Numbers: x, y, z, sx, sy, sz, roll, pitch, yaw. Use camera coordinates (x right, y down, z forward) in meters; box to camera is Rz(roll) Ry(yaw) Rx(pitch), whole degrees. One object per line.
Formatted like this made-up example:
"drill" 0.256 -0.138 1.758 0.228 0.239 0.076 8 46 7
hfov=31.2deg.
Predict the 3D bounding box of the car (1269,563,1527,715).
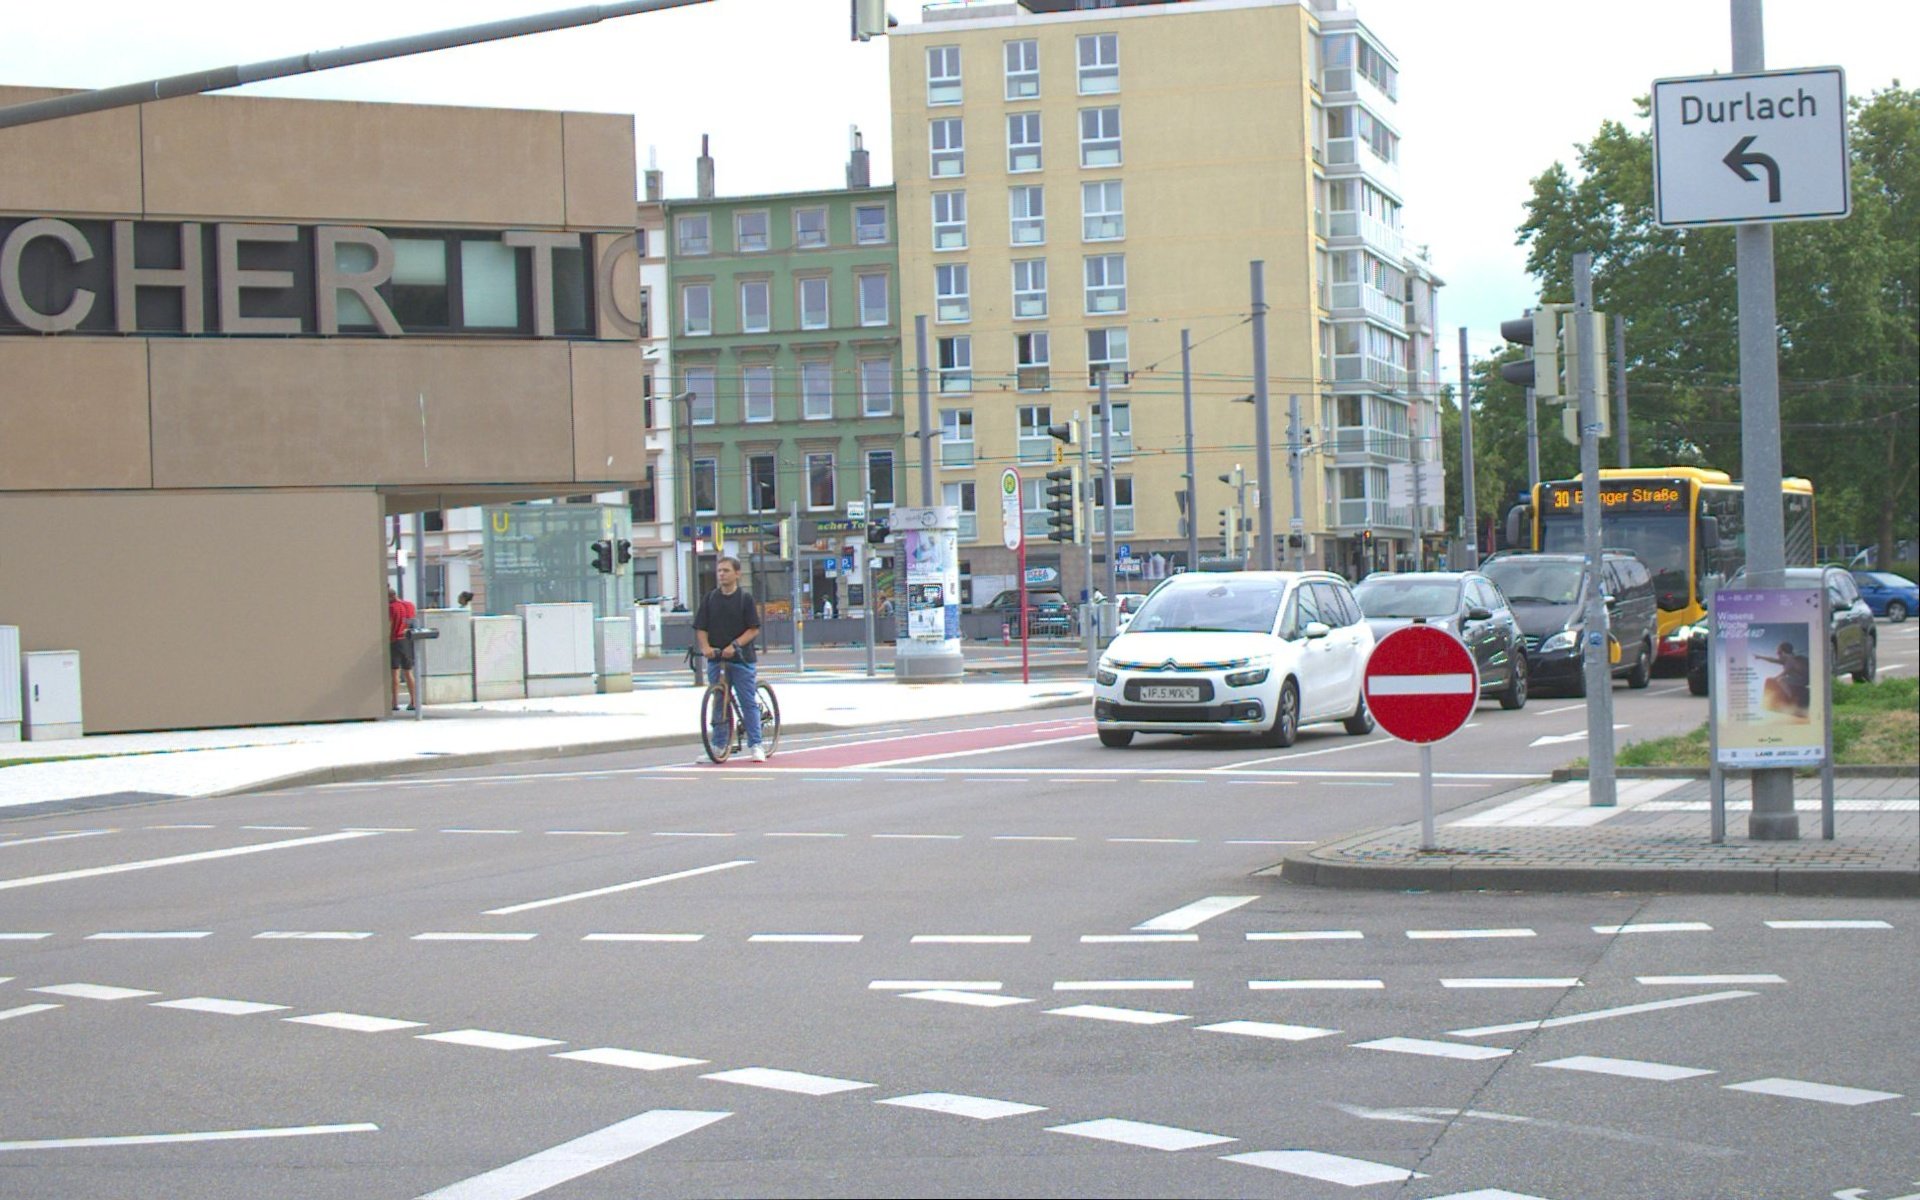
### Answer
"car" 5.100 0.413 39.532 1.996 1.645 4.285 0 0 21

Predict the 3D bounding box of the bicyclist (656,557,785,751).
"bicyclist" -2.077 0.460 29.897 0.867 1.663 0.880 0 0 16

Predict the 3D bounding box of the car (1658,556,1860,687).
"car" 10.616 0.266 45.457 1.996 1.645 4.507 0 0 21

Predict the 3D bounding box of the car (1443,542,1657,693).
"car" 7.850 0.219 45.474 1.996 1.892 4.285 0 0 21

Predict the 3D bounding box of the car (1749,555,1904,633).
"car" 22.884 -0.153 90.929 1.993 2.007 4.001 0 0 -22

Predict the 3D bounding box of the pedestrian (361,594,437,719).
"pedestrian" -7.949 0.800 48.667 0.809 1.727 0.780 -3 -1 -24

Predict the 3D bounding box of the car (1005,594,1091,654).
"car" 3.030 0.795 117.175 1.995 2.007 3.997 0 0 16

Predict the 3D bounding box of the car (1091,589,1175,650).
"car" 5.900 0.648 116.675 1.995 2.007 3.997 0 0 16

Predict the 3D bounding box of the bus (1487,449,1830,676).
"bus" 11.499 -0.542 55.324 3.151 3.244 12.399 0 0 22

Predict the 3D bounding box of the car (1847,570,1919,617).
"car" 25.992 -0.206 93.864 3.273 1.221 1.402 -2 0 7

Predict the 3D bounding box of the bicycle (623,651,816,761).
"bicycle" -2.059 0.902 29.926 0.863 0.873 2.517 0 0 16

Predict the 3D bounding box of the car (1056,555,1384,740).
"car" 2.573 0.417 32.945 1.996 1.645 4.285 0 0 21
